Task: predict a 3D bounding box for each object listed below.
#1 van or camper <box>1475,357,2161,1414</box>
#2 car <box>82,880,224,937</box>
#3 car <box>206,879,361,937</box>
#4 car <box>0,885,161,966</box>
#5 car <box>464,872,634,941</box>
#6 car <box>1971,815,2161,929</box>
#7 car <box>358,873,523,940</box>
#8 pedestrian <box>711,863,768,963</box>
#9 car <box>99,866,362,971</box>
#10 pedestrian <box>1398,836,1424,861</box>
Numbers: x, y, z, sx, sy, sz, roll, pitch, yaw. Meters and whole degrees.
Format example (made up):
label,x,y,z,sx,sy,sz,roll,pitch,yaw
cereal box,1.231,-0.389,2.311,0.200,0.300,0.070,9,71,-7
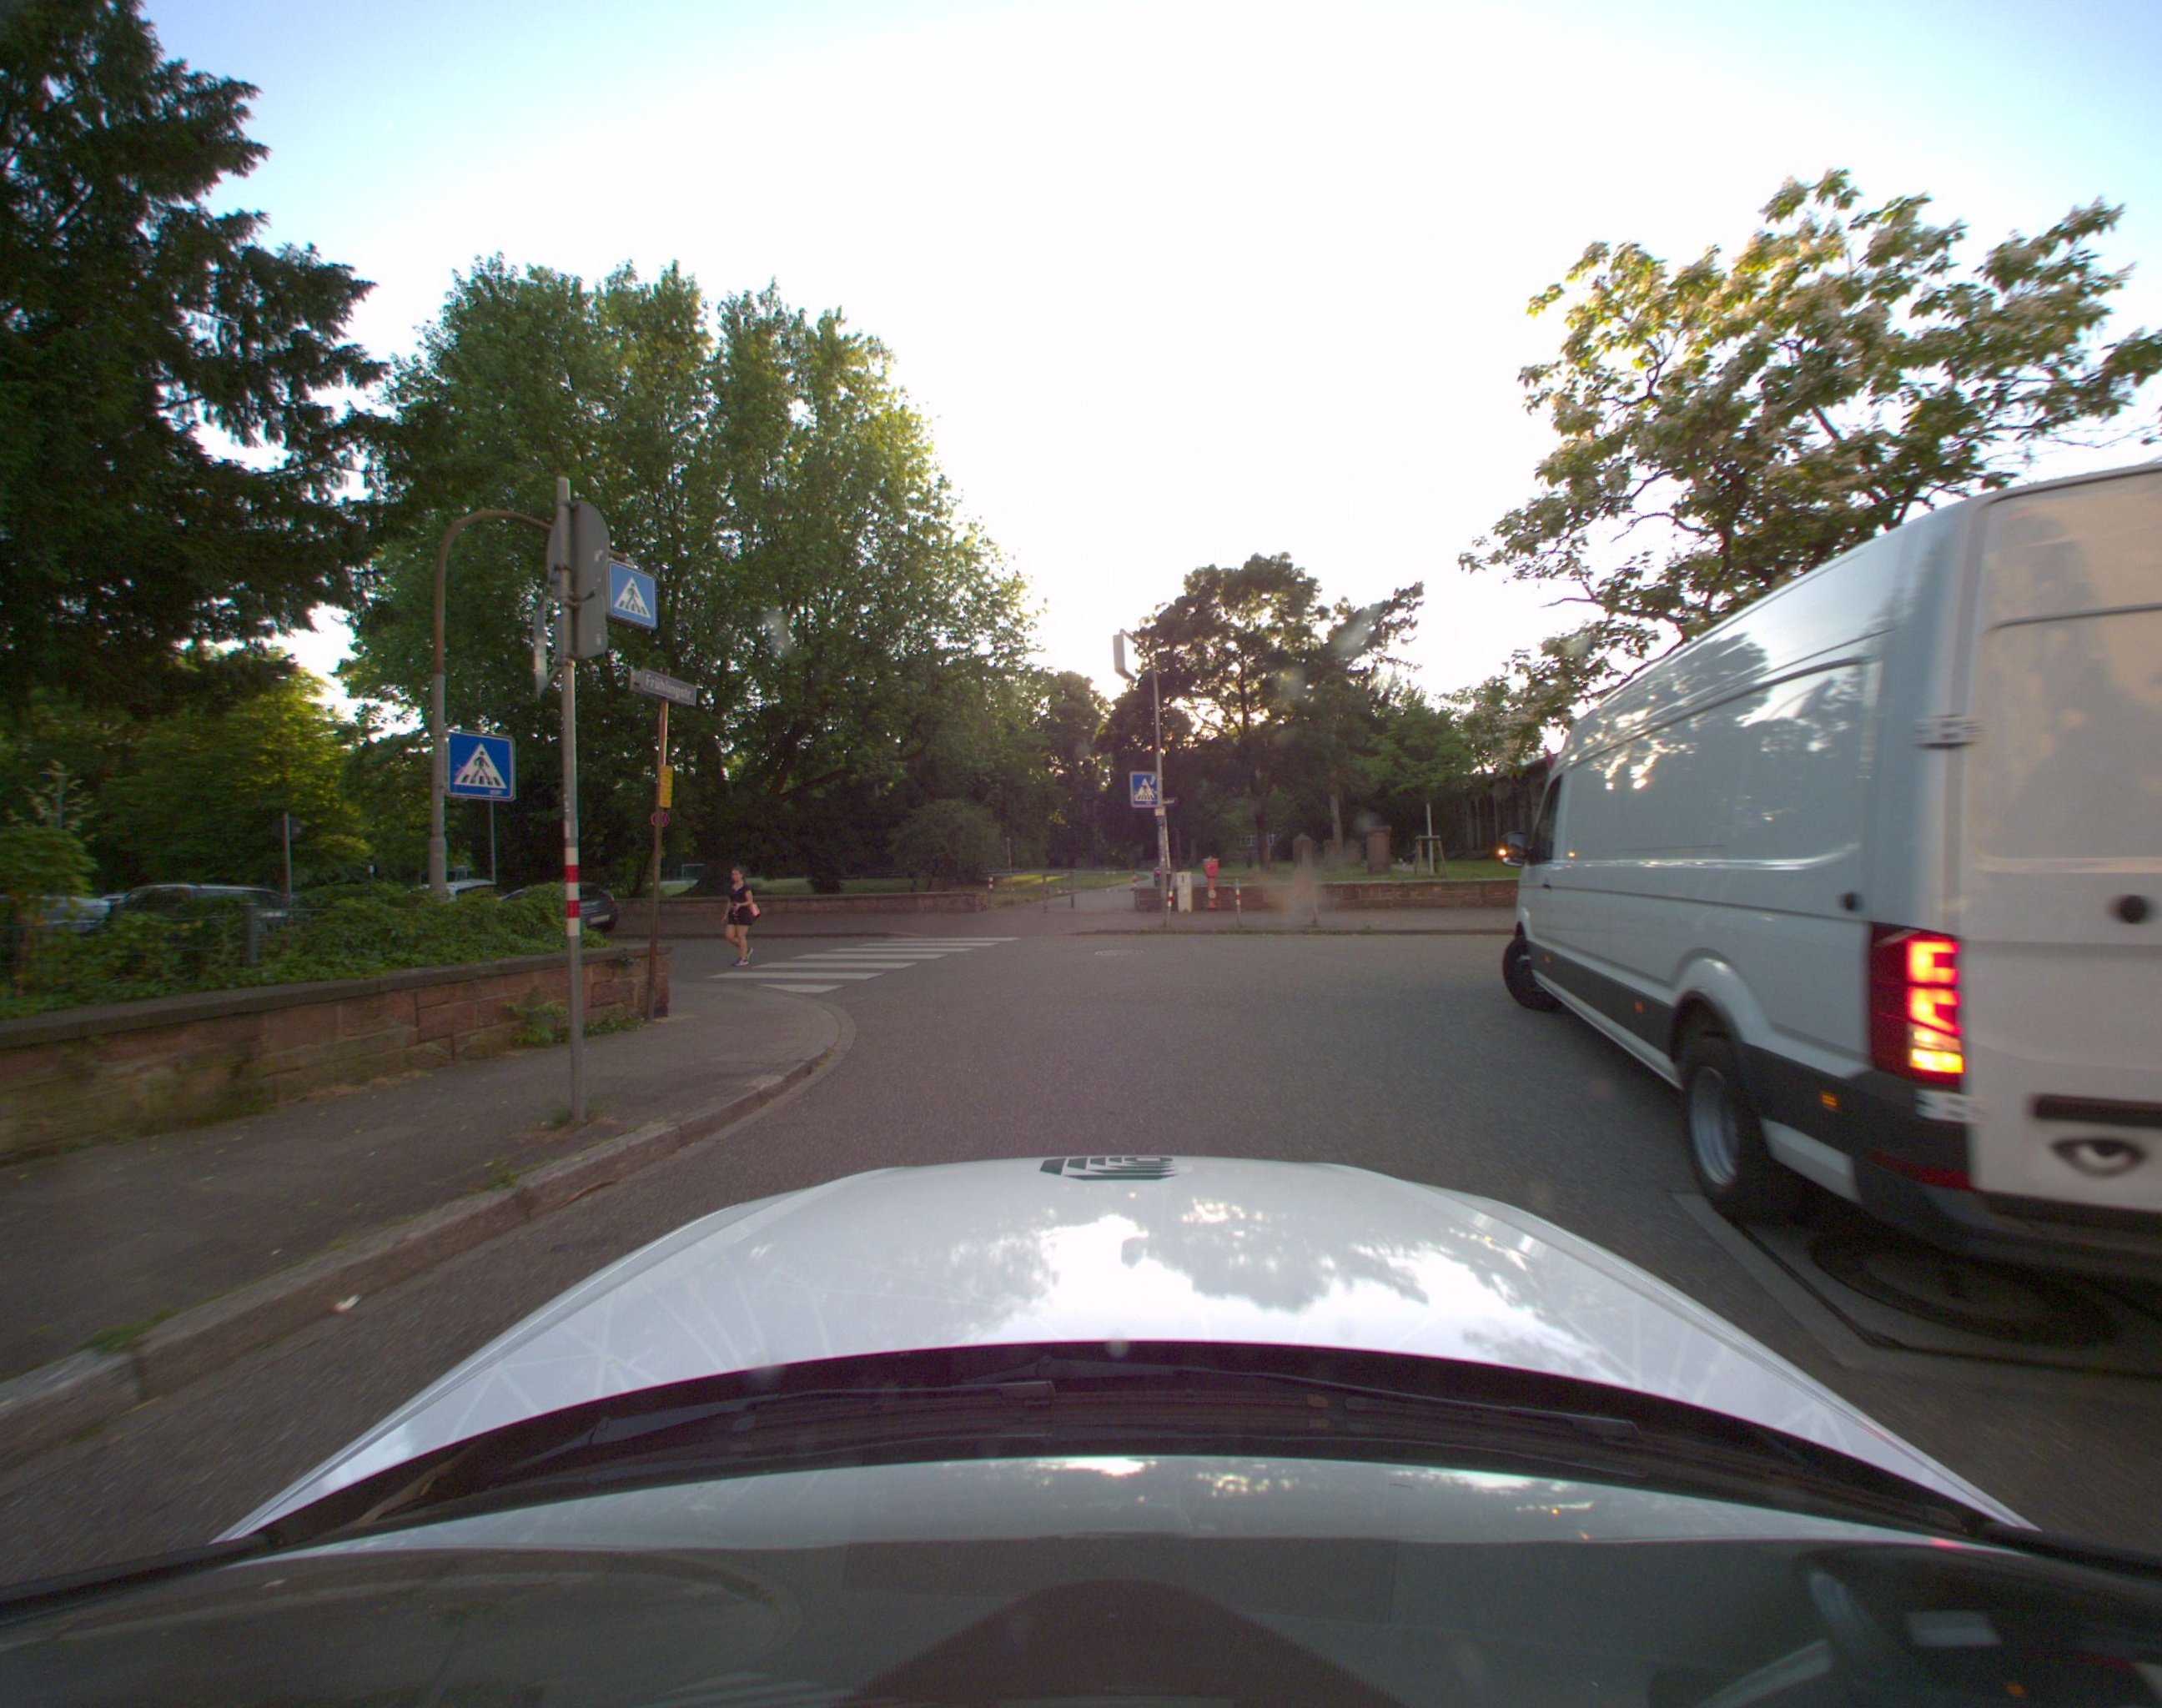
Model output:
label,x,y,z,sx,sy,sz,roll,pitch,yaw
van or camper,4.037,0.070,4.966,1.978,2.618,6.431,-1,0,17
car,-32.790,1.909,28.807,3.837,1.603,1.833,-3,5,19
car,-25.247,1.710,25.806,3.837,1.439,1.833,-3,5,19
car,-22.154,1.533,17.330,4.194,1.545,1.831,-3,-4,18
car,-14.309,1.407,21.919,3.818,1.491,1.834,-3,6,23
car,16.119,0.177,11.585,4.256,1.503,1.832,-3,-1,20
car,-18.665,1.534,23.772,3.837,1.562,1.833,-3,5,19
pedestrian,-5.844,0.994,13.979,0.643,1.648,0.674,0,0,4
car,-16.502,1.266,15.845,4.194,1.799,1.831,-3,-4,18
pedestrian,20.341,-0.347,50.169,1.318,1.444,1.050,-2,0,15
